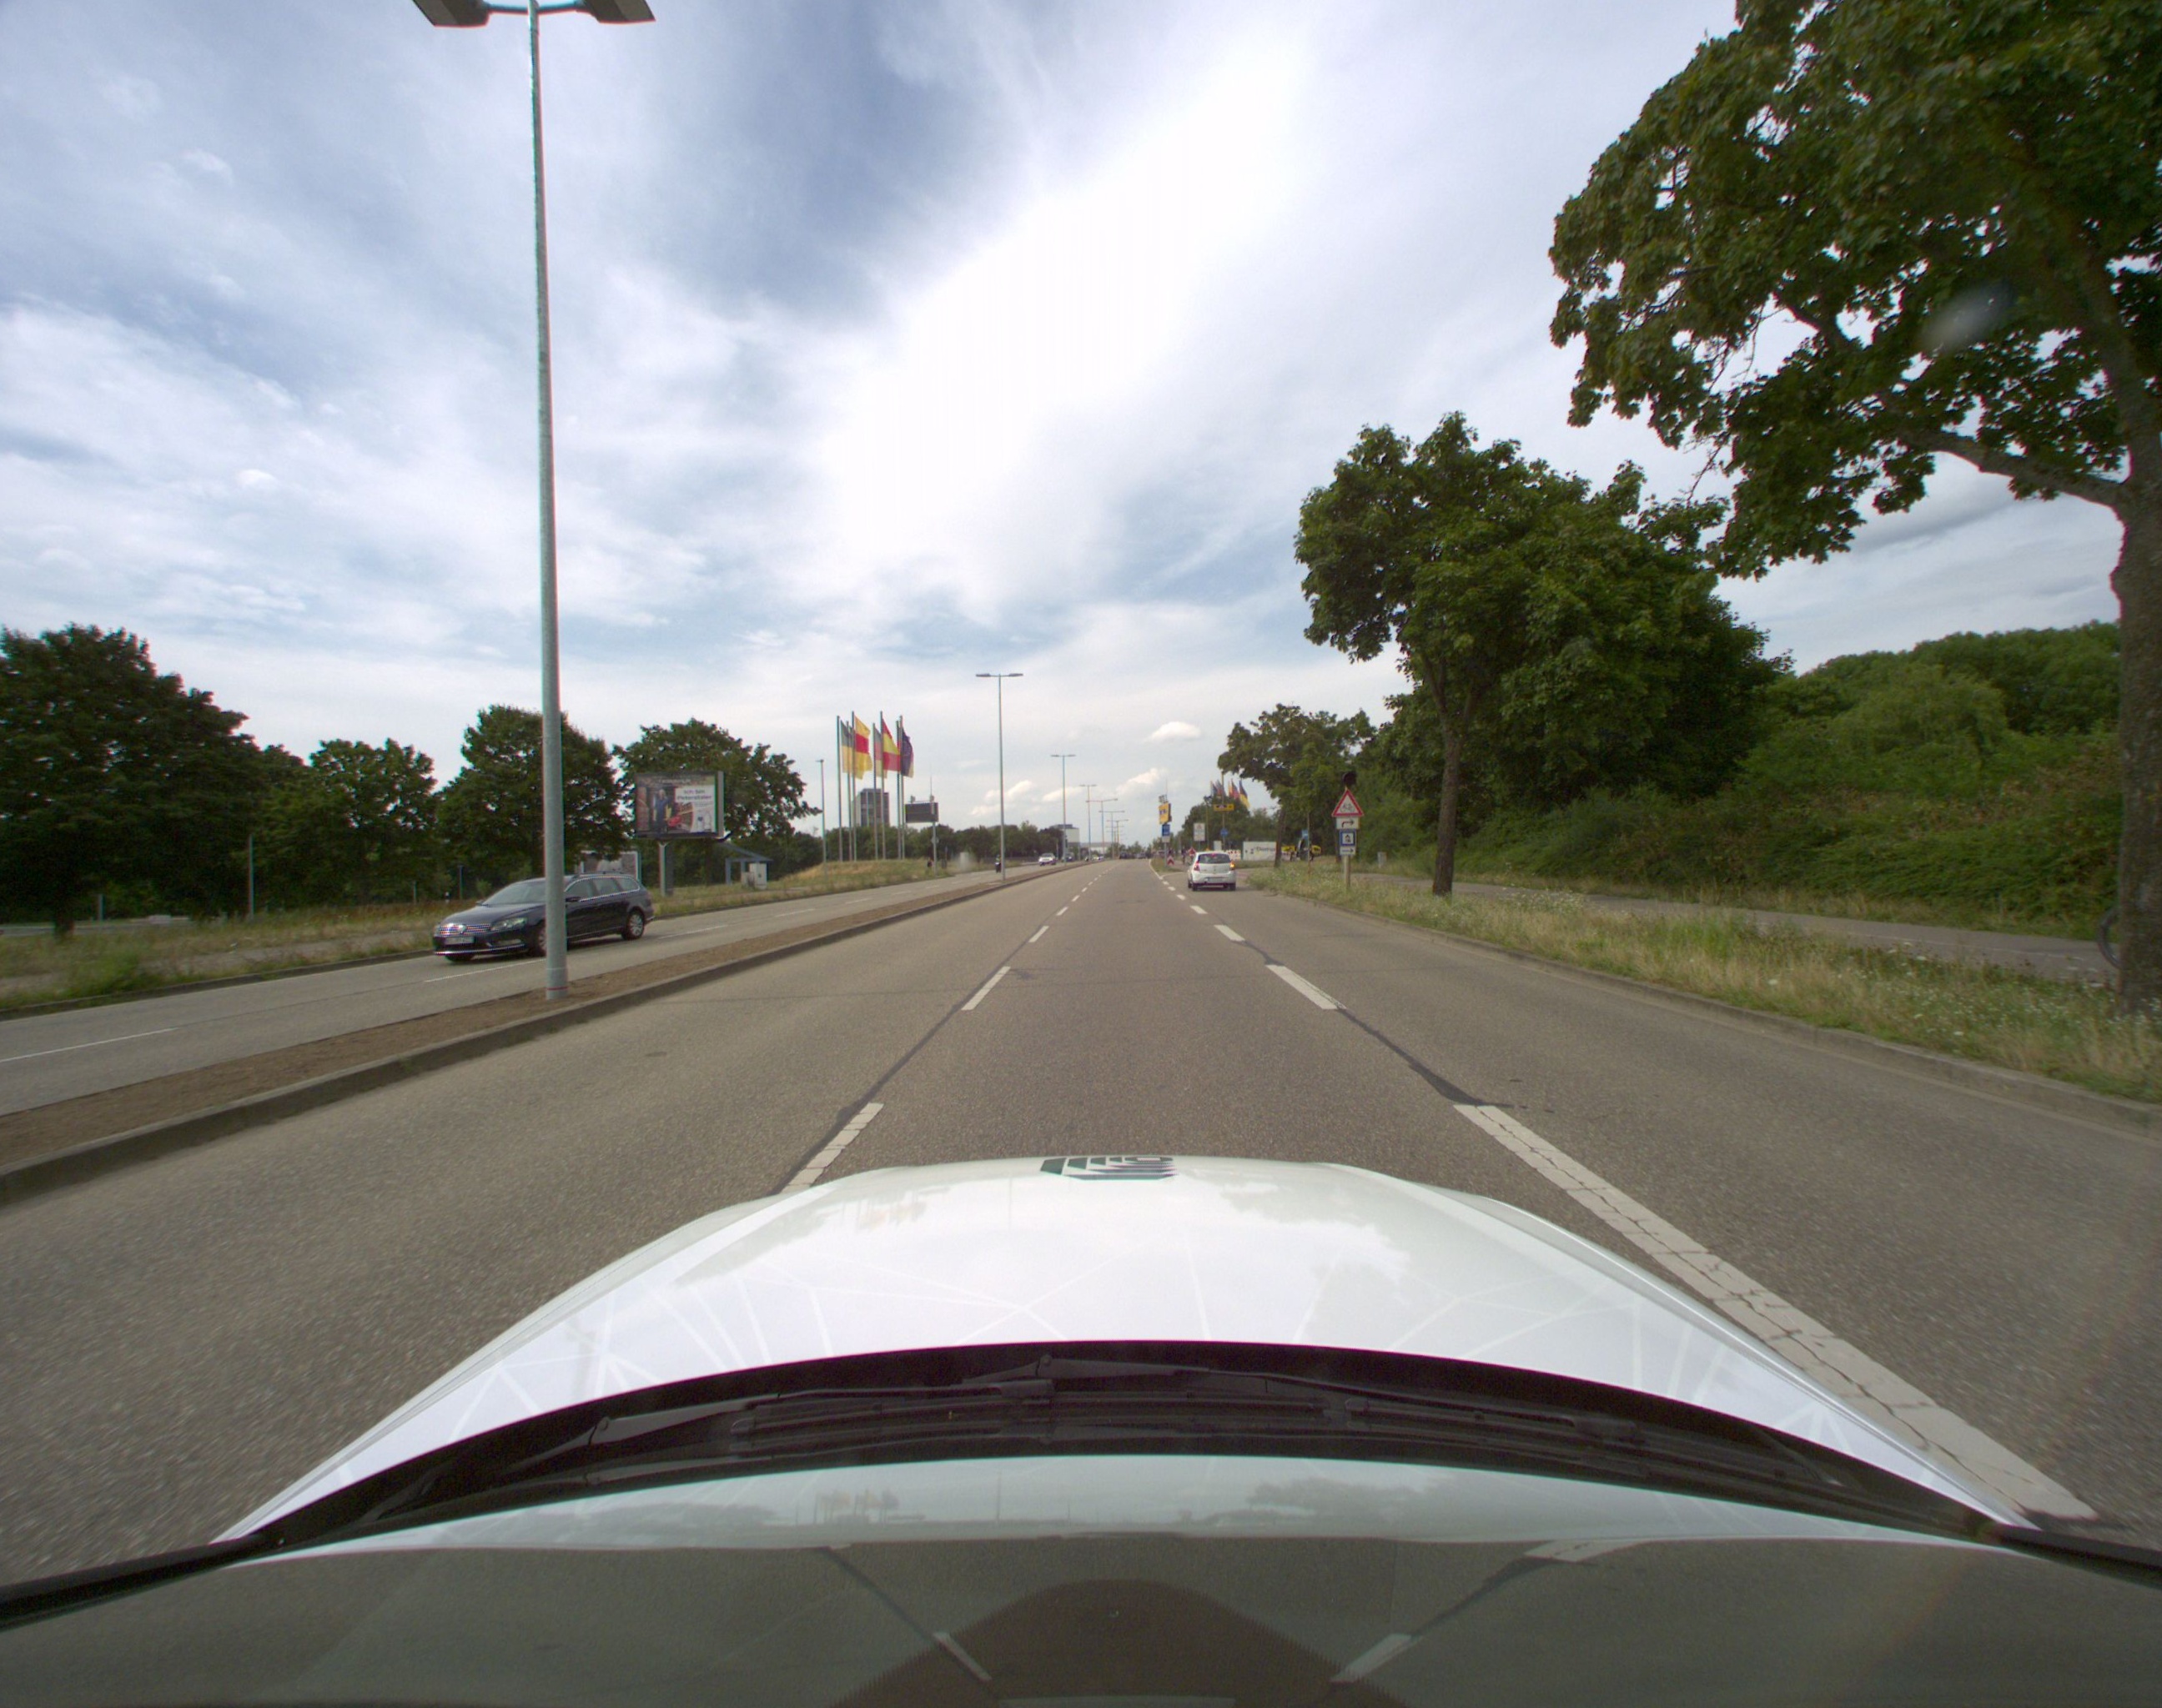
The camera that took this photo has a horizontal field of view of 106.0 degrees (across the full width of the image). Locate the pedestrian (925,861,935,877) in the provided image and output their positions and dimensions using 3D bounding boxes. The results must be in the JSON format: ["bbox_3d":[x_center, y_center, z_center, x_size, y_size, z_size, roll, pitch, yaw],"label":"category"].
[{"bbox_3d":[-16.472,1.599,88.856,0.862,1.693,0.679,-3,0,2],"label":"pedestrian"}]

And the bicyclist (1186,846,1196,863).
[{"bbox_3d":[9.572,0.048,70.923,0.739,1.474,0.804,0,-1,-4],"label":"bicyclist"}]

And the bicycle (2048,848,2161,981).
[{"bbox_3d":[9.782,0.536,7.007,0.571,1.147,1.983,-3,0,1],"label":"bicycle"}]

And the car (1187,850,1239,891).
[{"bbox_3d":[5.255,0.631,32.871,1.838,1.502,4.007,-1,0,6],"label":"car"}]

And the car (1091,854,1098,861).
[{"bbox_3d":[3.445,0.880,212.482,1.541,1.578,3.695,-3,0,4],"label":"car"}]

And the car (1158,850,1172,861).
[{"bbox_3d":[13.136,0.211,127.021,1.725,1.653,4.113,-1,-1,0],"label":"car"}]

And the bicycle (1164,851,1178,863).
[{"bbox_3d":[8.115,0.262,73.599,0.620,1.006,2.096,1,0,-10],"label":"bicycle"}]

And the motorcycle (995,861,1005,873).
[{"bbox_3d":[-7.371,1.179,74.106,0.520,0.967,2.221,-2,0,3],"label":"motorcycle"}]

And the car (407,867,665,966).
[{"bbox_3d":[-10.397,1.095,16.097,1.762,1.532,4.742,-3,0,1],"label":"car"}]

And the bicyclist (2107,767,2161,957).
[{"bbox_3d":[9.773,0.068,7.050,0.649,1.658,0.876,0,-1,1],"label":"bicyclist"}]

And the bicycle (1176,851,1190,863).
[{"bbox_3d":[9.206,0.257,73.712,0.595,1.036,2.188,1,0,-10],"label":"bicycle"}]

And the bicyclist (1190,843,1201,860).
[{"bbox_3d":[10.401,-0.222,73.806,0.741,1.487,0.955,0,-1,-10],"label":"bicyclist"}]

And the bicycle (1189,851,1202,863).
[{"bbox_3d":[10.392,0.270,73.836,0.620,1.006,1.781,-3,0,-10],"label":"bicycle"}]

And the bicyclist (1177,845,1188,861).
[{"bbox_3d":[9.207,-0.088,73.773,0.741,1.518,0.954,0,-1,-11],"label":"bicyclist"}]

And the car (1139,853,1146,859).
[{"bbox_3d":[15.090,0.559,199.134,1.723,1.526,4.118,0,-1,3],"label":"car"}]

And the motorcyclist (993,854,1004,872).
[{"bbox_3d":[-7.510,0.786,74.072,0.767,1.588,0.897,-3,0,2],"label":"motorcyclist"}]

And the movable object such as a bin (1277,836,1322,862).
[{"bbox_3d":[23.275,-0.540,86.814,4.475,2.689,2.107,-1,-1,8],"label":"movable object such as a bin"}]

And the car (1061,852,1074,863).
[{"bbox_3d":[-2.564,0.683,156.519,1.838,1.893,5.513,-4,0,6],"label":"car"}]

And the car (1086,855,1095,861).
[{"bbox_3d":[2.190,0.928,189.248,1.755,1.441,4.182,-3,0,4],"label":"car"}]

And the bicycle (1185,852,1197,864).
[{"bbox_3d":[9.576,0.387,70.826,0.619,1.006,1.784,-3,0,-4],"label":"bicycle"}]

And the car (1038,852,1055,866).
[{"bbox_3d":[-4.625,0.662,109.649,1.839,1.601,4.565,-2,1,3],"label":"car"}]

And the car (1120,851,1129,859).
[{"bbox_3d":[8.841,0.196,164.251,1.722,1.653,4.120,-1,-1,5],"label":"car"}]

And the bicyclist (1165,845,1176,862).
[{"bbox_3d":[8.097,-0.074,73.618,0.741,1.518,0.955,0,-1,-11],"label":"bicyclist"}]
